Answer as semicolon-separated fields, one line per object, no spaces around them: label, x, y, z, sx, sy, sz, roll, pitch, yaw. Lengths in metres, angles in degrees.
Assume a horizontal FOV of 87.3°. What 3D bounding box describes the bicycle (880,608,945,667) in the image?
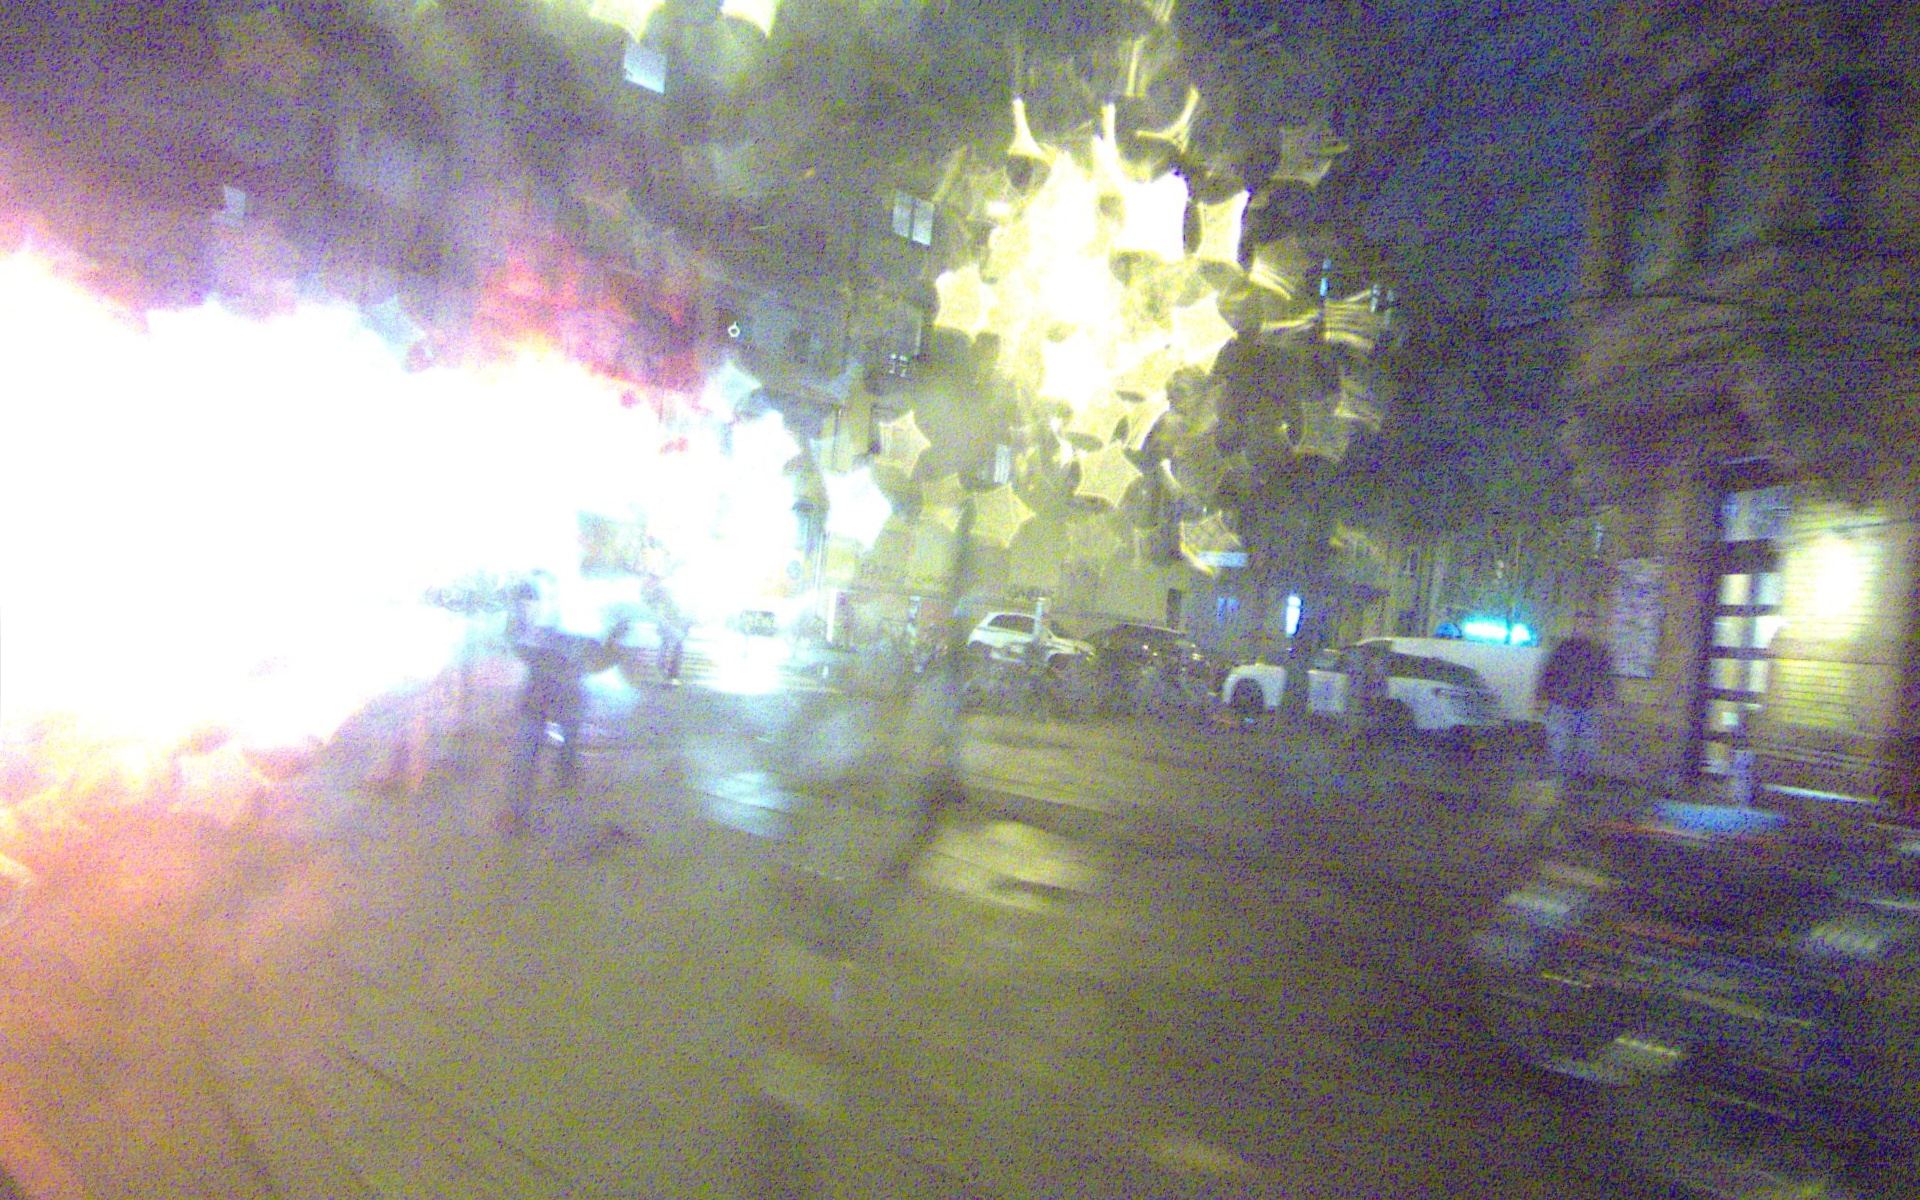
bicycle;-1.063;0.882;22.956;0.444;1.190;1.964;6;-2;27

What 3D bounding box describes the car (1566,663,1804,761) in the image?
car;18.324;2.796;25.621;1.983;1.783;4.419;8;-1;-36

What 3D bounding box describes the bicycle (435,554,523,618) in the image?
bicycle;-10.639;-0.296;22.280;1.631;1.187;0.381;8;-3;-32

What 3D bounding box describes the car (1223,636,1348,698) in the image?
car;10.972;2.253;33.938;3.630;1.596;1.755;6;-2;30

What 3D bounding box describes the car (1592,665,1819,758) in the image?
car;20.004;2.951;27.171;1.983;1.783;4.419;8;-1;-36

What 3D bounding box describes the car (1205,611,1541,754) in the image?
car;7.029;1.354;17.713;1.983;1.783;5.047;8;-1;-36

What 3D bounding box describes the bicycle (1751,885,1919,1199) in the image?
bicycle;2.411;1.146;2.050;1.619;1.040;0.335;4;2;-15

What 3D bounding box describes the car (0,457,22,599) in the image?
car;-15.795;-1.317;13.564;4.733;1.945;2.131;7;-1;12

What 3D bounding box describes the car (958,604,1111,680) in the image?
car;2.032;1.151;27.481;3.630;1.596;1.755;6;-2;30

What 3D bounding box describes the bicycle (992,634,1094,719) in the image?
bicycle;1.210;1.121;15.045;0.376;1.021;1.793;6;1;-35

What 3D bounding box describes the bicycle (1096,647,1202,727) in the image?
bicycle;2.977;1.357;16.040;0.400;1.021;1.793;6;1;-35

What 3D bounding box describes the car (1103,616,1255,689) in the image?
car;6.602;1.584;30.393;4.037;1.682;1.755;6;-2;30

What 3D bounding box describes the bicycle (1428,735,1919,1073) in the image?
bicycle;2.752;1.140;3.887;1.615;1.040;0.336;5;2;4

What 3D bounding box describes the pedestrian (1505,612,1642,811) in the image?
pedestrian;6.103;1.086;10.014;0.784;1.840;0.803;5;0;-35

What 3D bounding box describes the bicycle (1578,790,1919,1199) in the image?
bicycle;2.673;1.123;2.825;1.615;1.039;0.336;3;0;0

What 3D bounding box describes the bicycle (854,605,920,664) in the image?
bicycle;-1.670;0.820;23.248;0.444;1.190;1.964;6;-2;27

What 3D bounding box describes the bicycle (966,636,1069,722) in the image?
bicycle;0.812;1.145;14.838;0.400;1.021;1.793;6;1;-35

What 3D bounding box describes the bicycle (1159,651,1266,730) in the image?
bicycle;4.061;1.444;16.335;0.400;1.021;1.760;6;1;-35

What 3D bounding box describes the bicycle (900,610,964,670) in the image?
bicycle;-0.611;0.928;22.749;0.444;1.190;1.964;6;-2;27

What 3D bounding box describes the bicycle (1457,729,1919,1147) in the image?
bicycle;2.603;1.098;3.311;1.615;1.107;0.336;7;2;4

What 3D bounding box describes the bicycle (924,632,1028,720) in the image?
bicycle;0.206;1.075;14.596;0.451;1.021;1.793;6;1;-35

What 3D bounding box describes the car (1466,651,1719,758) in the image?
car;14.506;2.355;23.311;1.983;1.783;4.419;8;-1;-36

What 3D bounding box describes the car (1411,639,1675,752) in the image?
car;12.529;2.009;21.874;1.983;1.783;4.419;8;-1;-36

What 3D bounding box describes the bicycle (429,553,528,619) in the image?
bicycle;-10.252;-0.288;21.440;1.768;1.188;0.381;7;0;-32

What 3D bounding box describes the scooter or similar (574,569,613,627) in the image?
scooter or similar;-8.558;-0.059;23.476;0.521;1.244;1.303;7;0;-30

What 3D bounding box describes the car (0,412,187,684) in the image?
car;-8.823;-0.553;9.312;2.116;2.015;4.546;7;-1;-43

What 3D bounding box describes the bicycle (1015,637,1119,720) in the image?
bicycle;1.592;1.168;15.276;0.400;1.021;1.793;6;0;-35

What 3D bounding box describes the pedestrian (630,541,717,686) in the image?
pedestrian;-3.966;0.184;13.875;0.867;1.856;0.978;6;0;-24

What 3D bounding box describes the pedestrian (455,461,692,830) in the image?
pedestrian;-2.047;0.242;5.366;0.592;1.792;0.825;6;-1;42

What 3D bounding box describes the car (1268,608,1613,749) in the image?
car;8.863;1.378;19.122;1.983;1.912;5.493;7;-1;-36

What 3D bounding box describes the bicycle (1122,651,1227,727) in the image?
bicycle;3.447;1.413;16.316;0.400;1.020;1.794;8;-2;-34

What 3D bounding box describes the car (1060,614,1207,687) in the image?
car;4.930;1.444;28.663;3.630;1.596;1.755;6;-2;30
